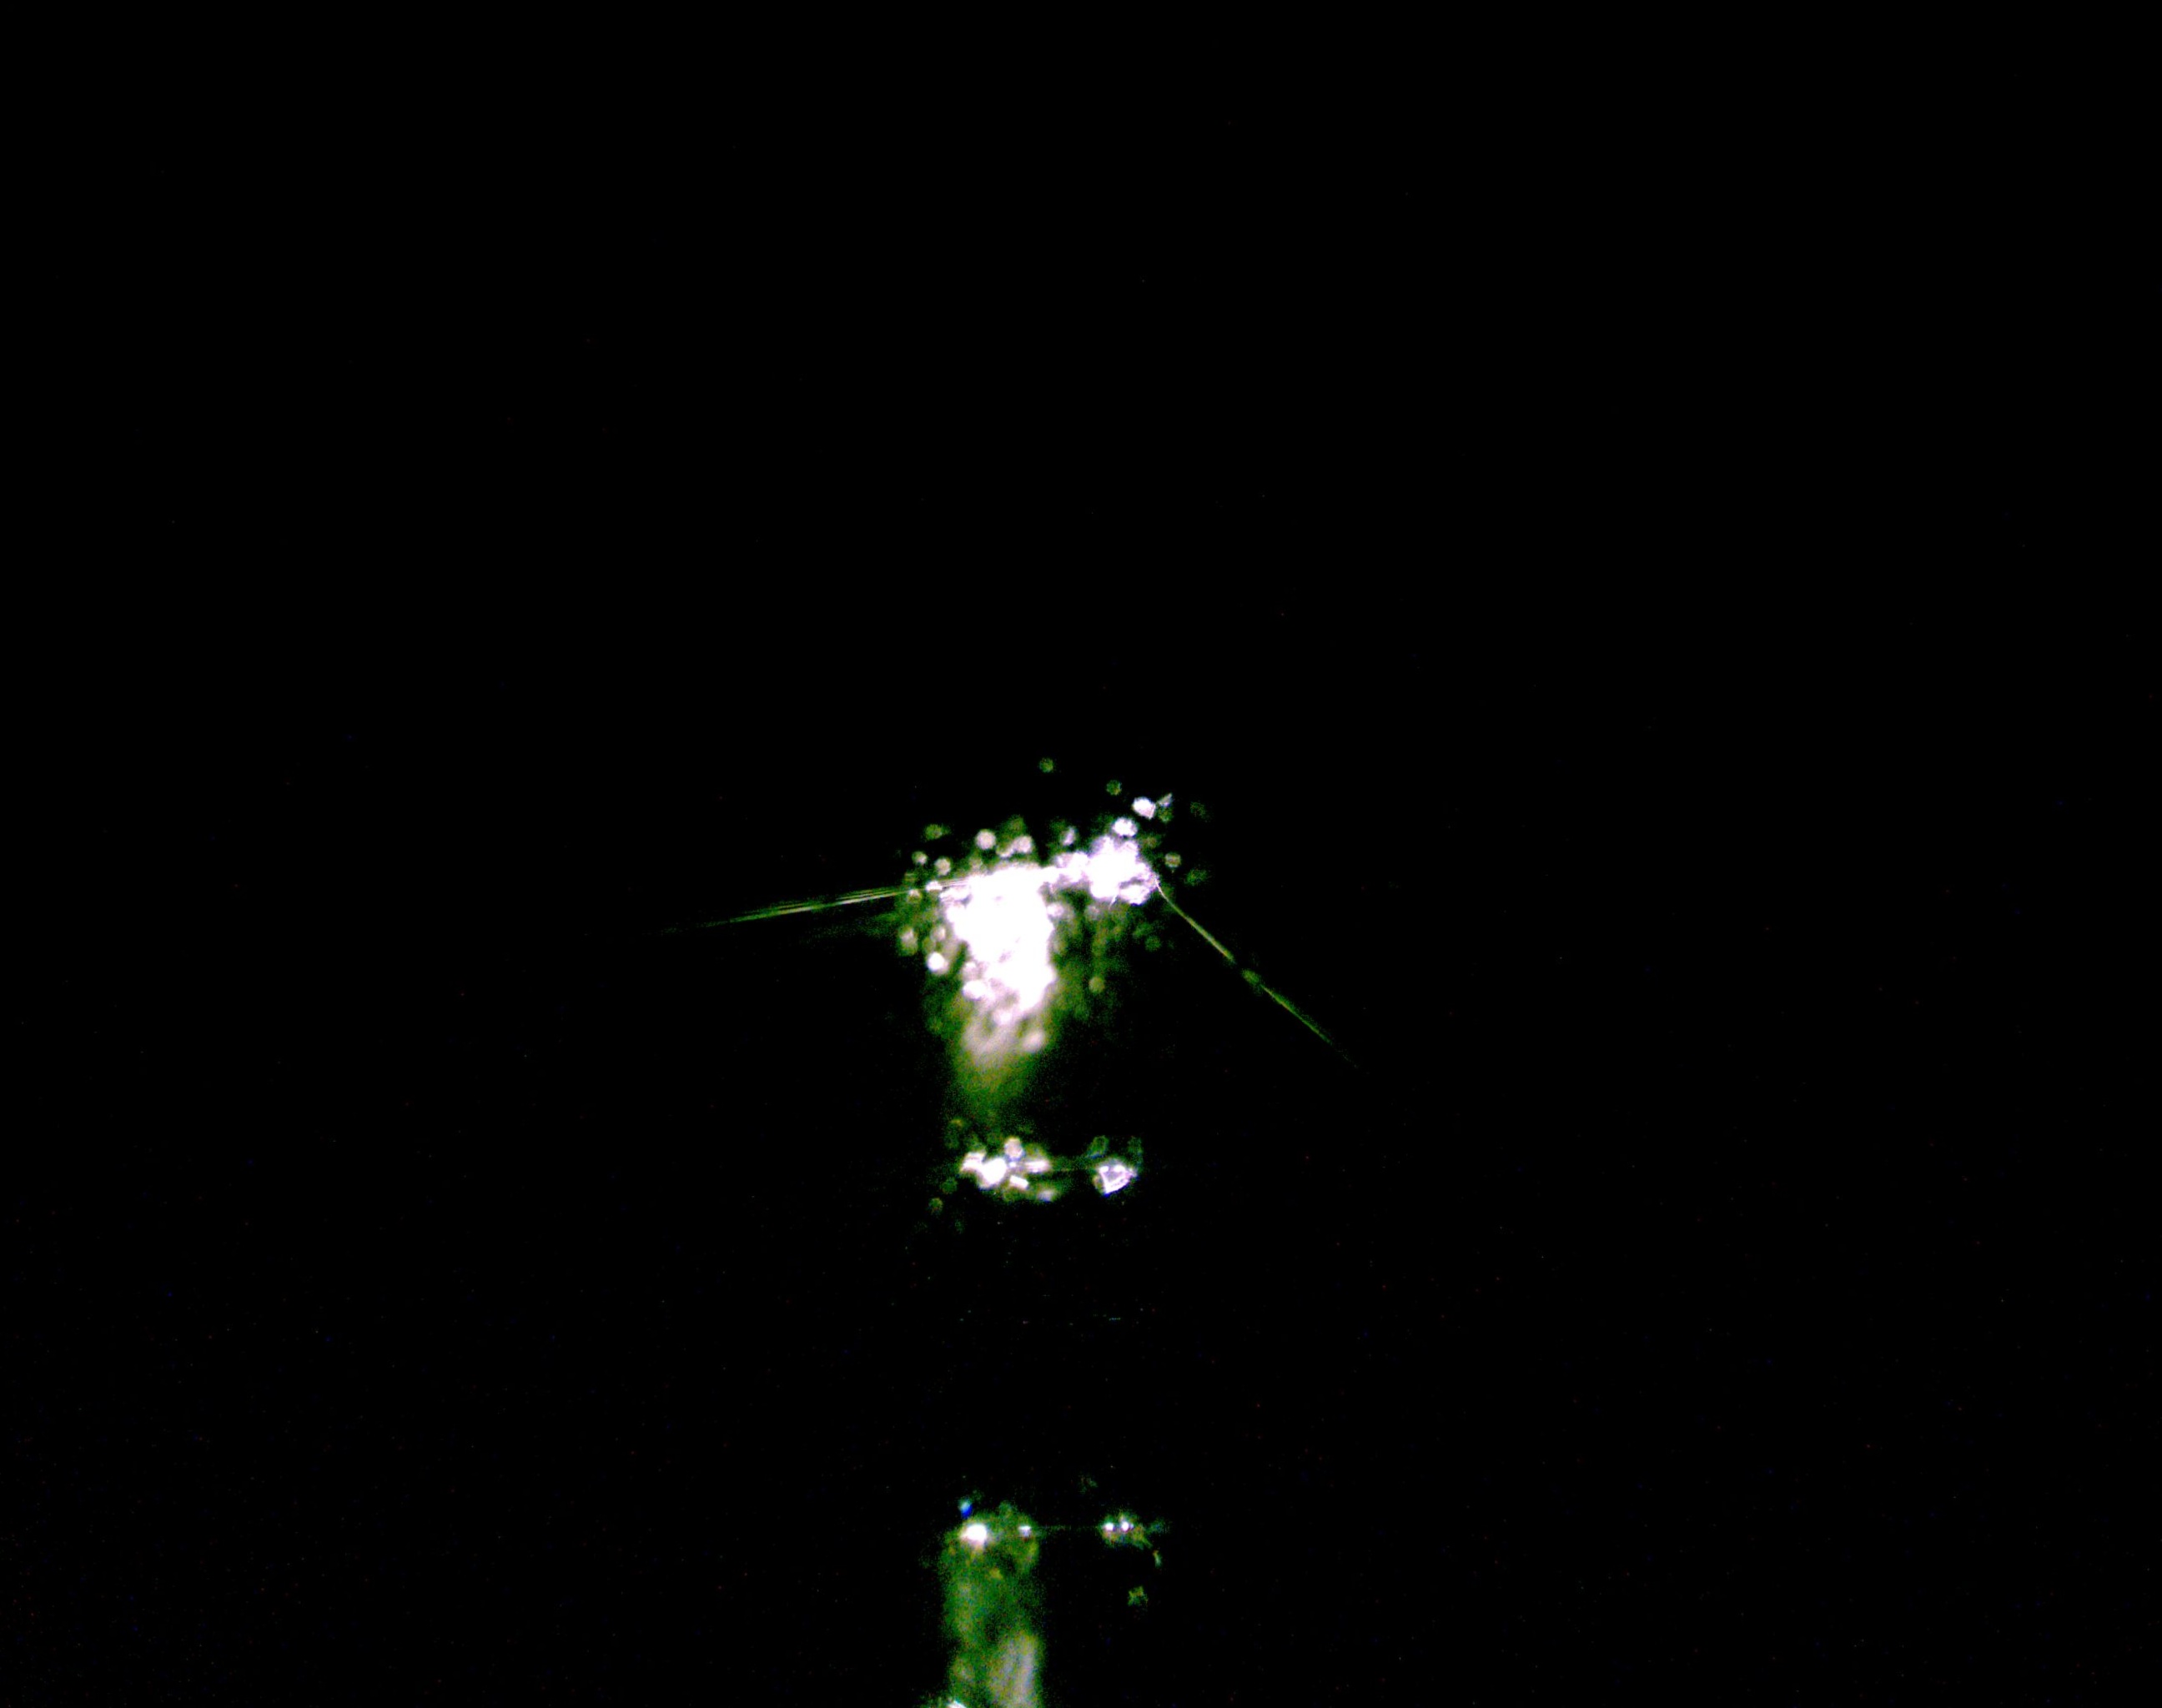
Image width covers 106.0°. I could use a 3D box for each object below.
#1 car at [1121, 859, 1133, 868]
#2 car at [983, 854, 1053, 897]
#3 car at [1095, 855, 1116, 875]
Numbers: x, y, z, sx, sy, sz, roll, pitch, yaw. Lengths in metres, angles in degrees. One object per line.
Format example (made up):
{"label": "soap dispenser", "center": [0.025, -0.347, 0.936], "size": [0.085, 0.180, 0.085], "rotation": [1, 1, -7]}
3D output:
{"label": "car", "center": [8.107, 1.670, 143.961], "size": [1.908, 1.464, 4.266], "rotation": [-1, -1, 6]}
{"label": "car", "center": [-2.140, 0.727, 28.800], "size": [1.985, 1.391, 3.849], "rotation": [0, 0, 3]}
{"label": "car", "center": [2.560, 1.145, 84.362], "size": [1.846, 1.940, 4.005], "rotation": [-1, -1, 4]}
